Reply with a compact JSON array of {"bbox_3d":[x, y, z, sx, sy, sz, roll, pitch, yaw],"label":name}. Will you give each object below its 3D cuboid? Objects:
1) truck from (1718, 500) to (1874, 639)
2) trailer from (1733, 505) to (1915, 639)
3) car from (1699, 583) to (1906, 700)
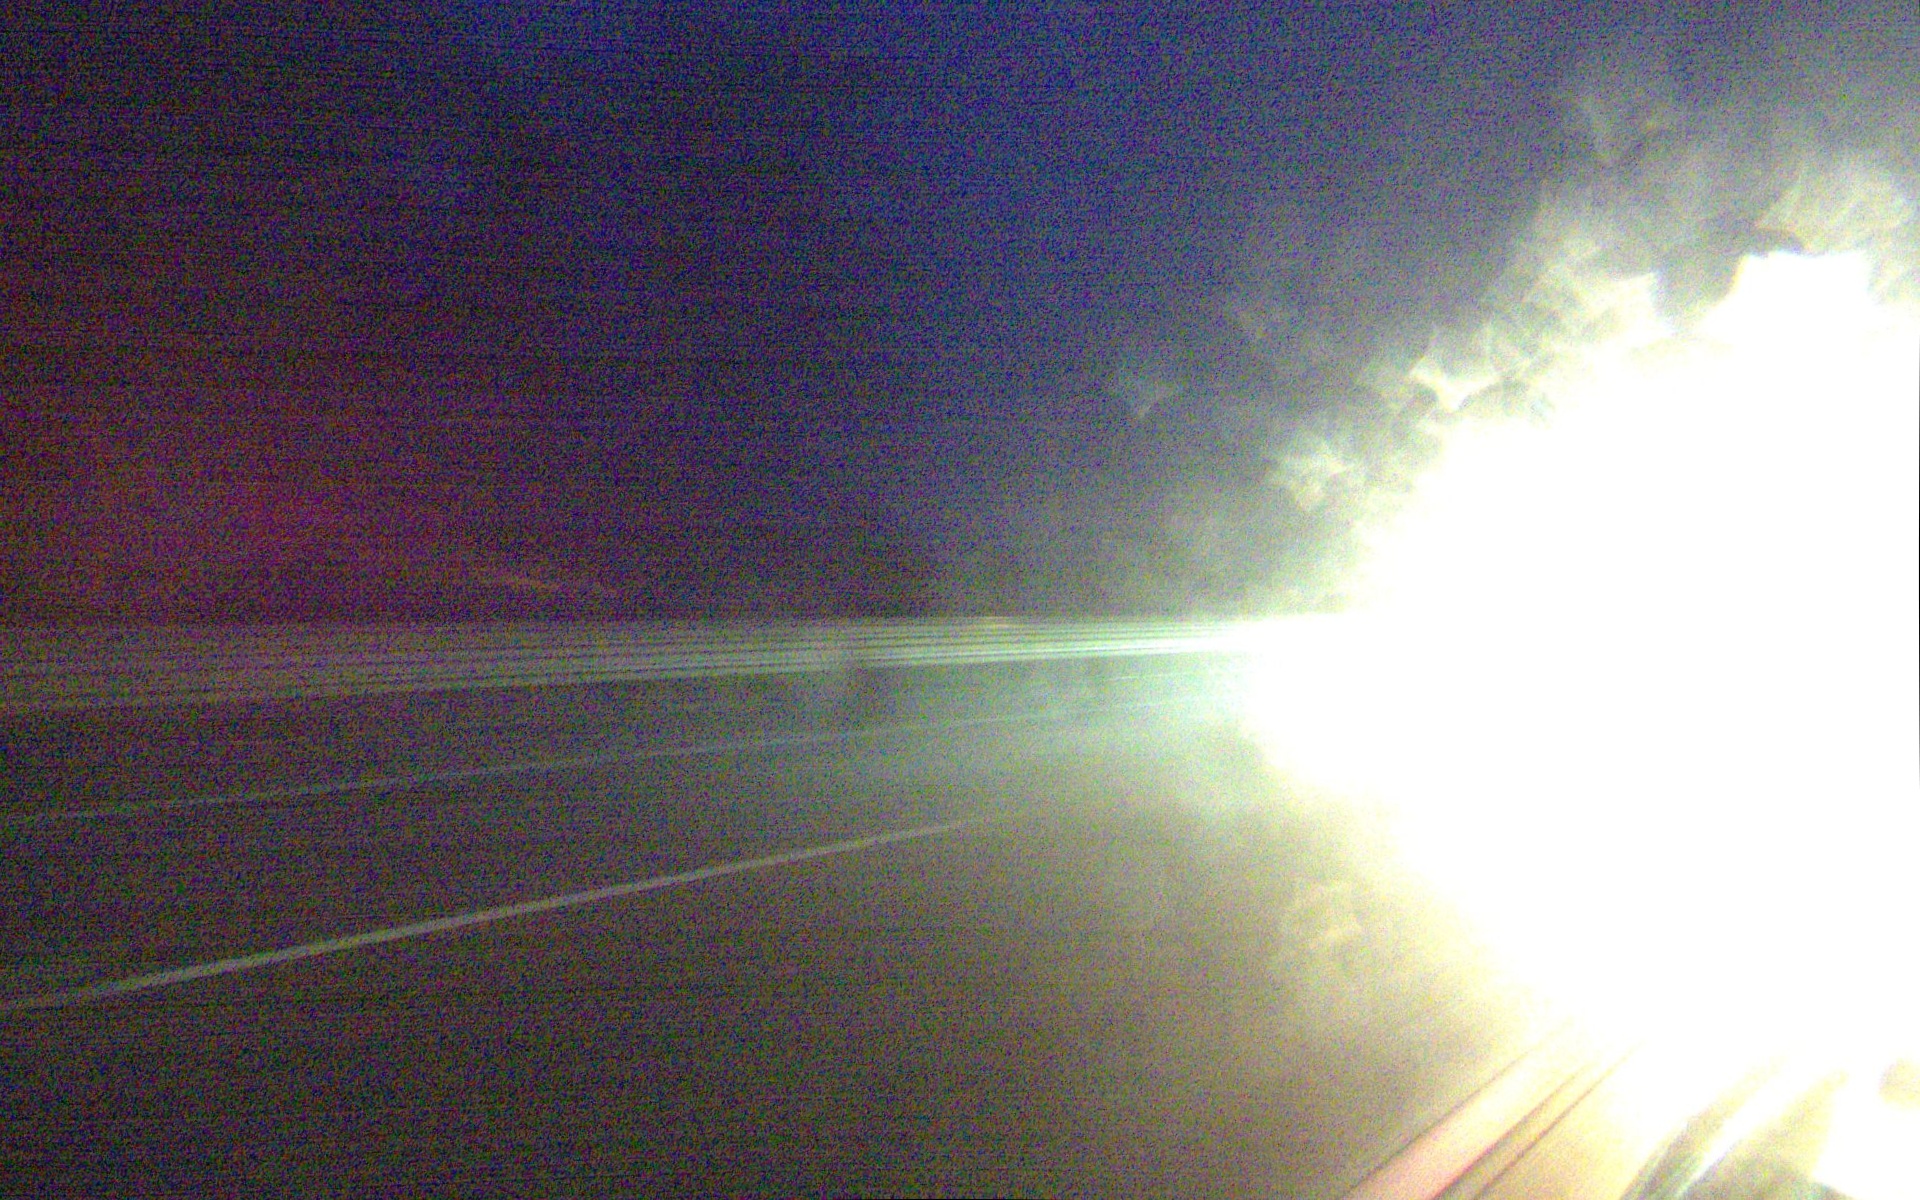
[{"bbox_3d":[27.598,-0.917,33.324,5.924,4.160,2.909,1,1,-41],"label":"truck"},{"bbox_3d":[32.131,-0.812,37.257,14.232,4.159,2.909,1,1,-41],"label":"trailer"},{"bbox_3d":[13.377,0.583,15.979,4.413,1.595,1.744,1,0,-40],"label":"car"}]
